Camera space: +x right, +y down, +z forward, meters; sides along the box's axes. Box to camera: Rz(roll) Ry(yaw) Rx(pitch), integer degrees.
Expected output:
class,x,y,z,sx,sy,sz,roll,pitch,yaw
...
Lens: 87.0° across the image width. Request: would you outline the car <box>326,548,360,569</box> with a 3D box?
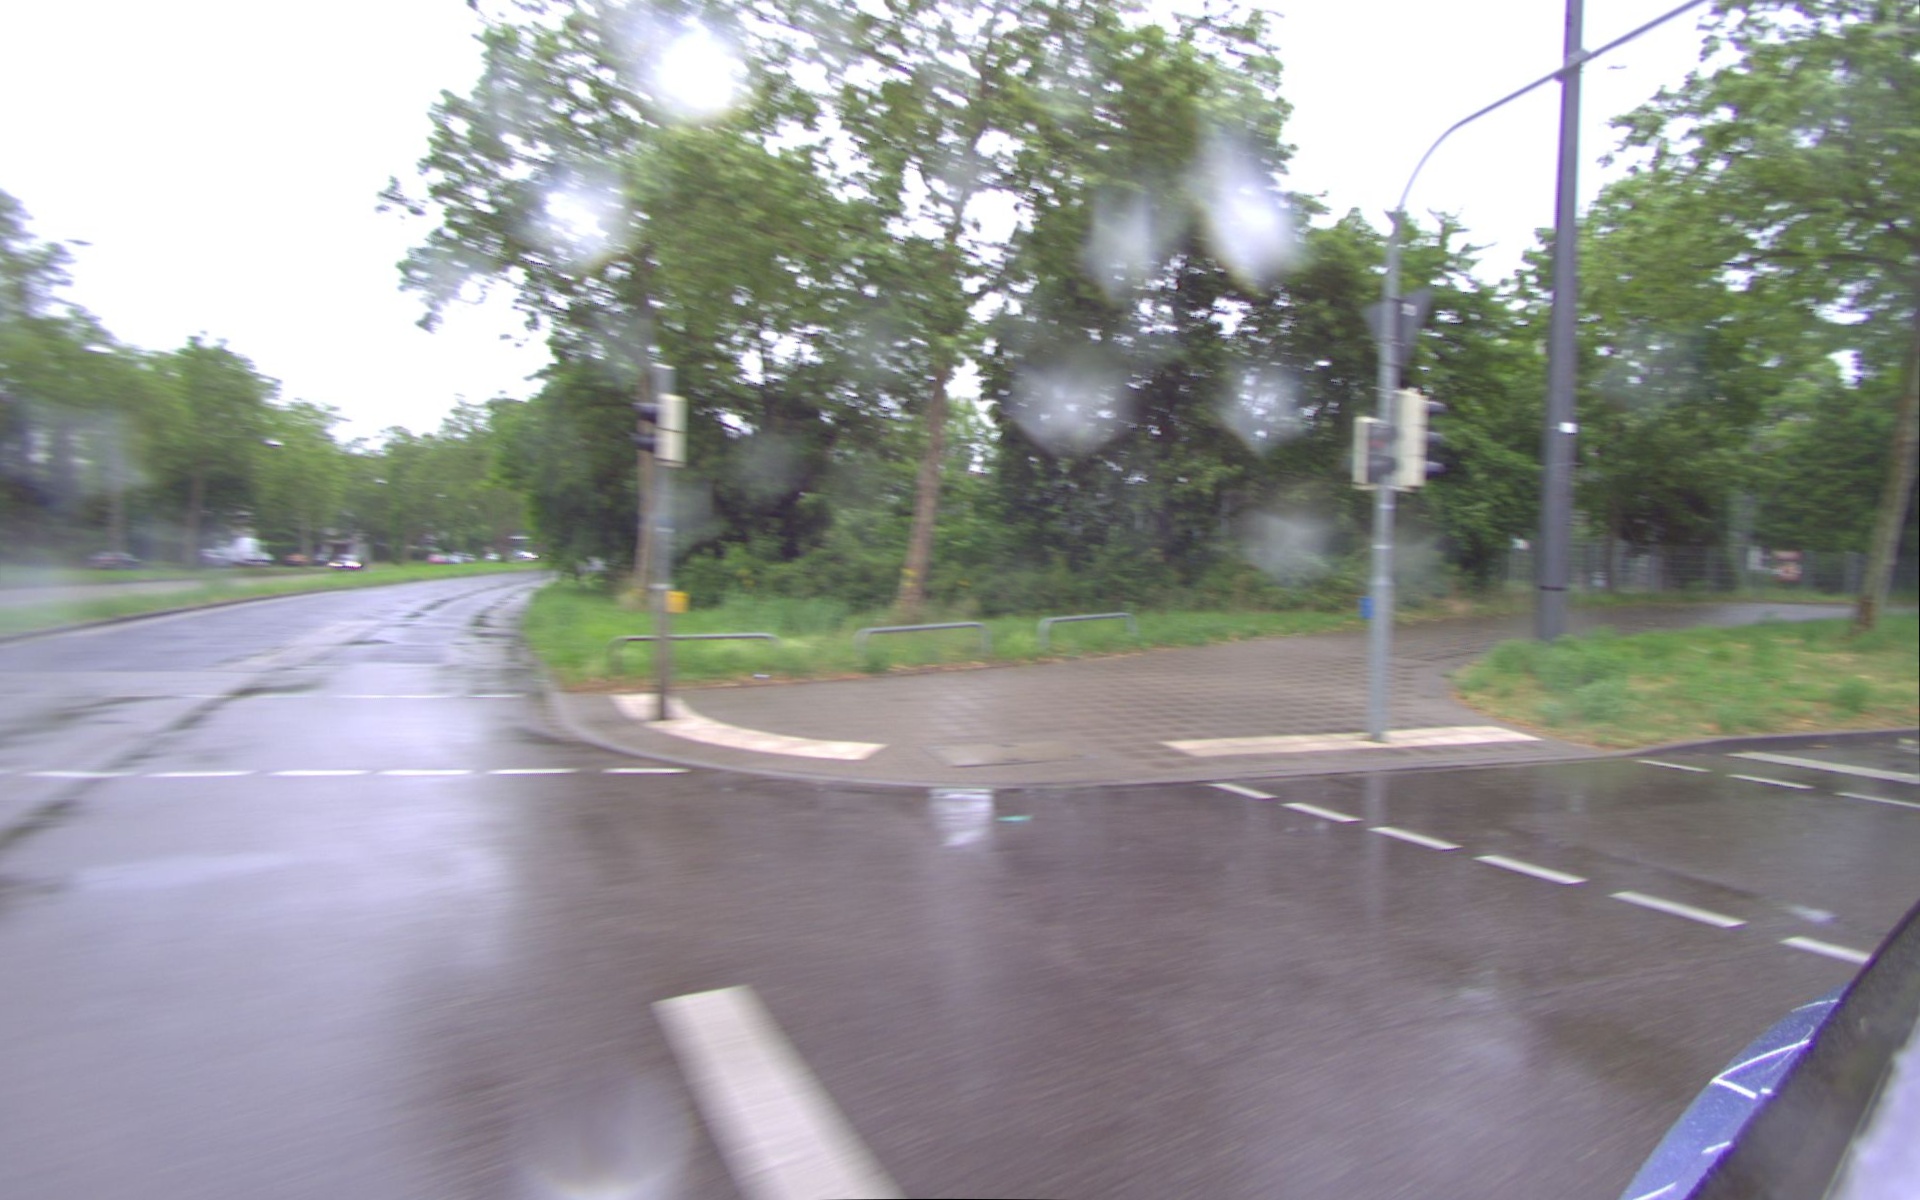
class,x,y,z,sx,sy,sz,roll,pitch,yaw
car,-49.214,-3.287,80.799,1.959,1.660,4.007,0,1,-26
